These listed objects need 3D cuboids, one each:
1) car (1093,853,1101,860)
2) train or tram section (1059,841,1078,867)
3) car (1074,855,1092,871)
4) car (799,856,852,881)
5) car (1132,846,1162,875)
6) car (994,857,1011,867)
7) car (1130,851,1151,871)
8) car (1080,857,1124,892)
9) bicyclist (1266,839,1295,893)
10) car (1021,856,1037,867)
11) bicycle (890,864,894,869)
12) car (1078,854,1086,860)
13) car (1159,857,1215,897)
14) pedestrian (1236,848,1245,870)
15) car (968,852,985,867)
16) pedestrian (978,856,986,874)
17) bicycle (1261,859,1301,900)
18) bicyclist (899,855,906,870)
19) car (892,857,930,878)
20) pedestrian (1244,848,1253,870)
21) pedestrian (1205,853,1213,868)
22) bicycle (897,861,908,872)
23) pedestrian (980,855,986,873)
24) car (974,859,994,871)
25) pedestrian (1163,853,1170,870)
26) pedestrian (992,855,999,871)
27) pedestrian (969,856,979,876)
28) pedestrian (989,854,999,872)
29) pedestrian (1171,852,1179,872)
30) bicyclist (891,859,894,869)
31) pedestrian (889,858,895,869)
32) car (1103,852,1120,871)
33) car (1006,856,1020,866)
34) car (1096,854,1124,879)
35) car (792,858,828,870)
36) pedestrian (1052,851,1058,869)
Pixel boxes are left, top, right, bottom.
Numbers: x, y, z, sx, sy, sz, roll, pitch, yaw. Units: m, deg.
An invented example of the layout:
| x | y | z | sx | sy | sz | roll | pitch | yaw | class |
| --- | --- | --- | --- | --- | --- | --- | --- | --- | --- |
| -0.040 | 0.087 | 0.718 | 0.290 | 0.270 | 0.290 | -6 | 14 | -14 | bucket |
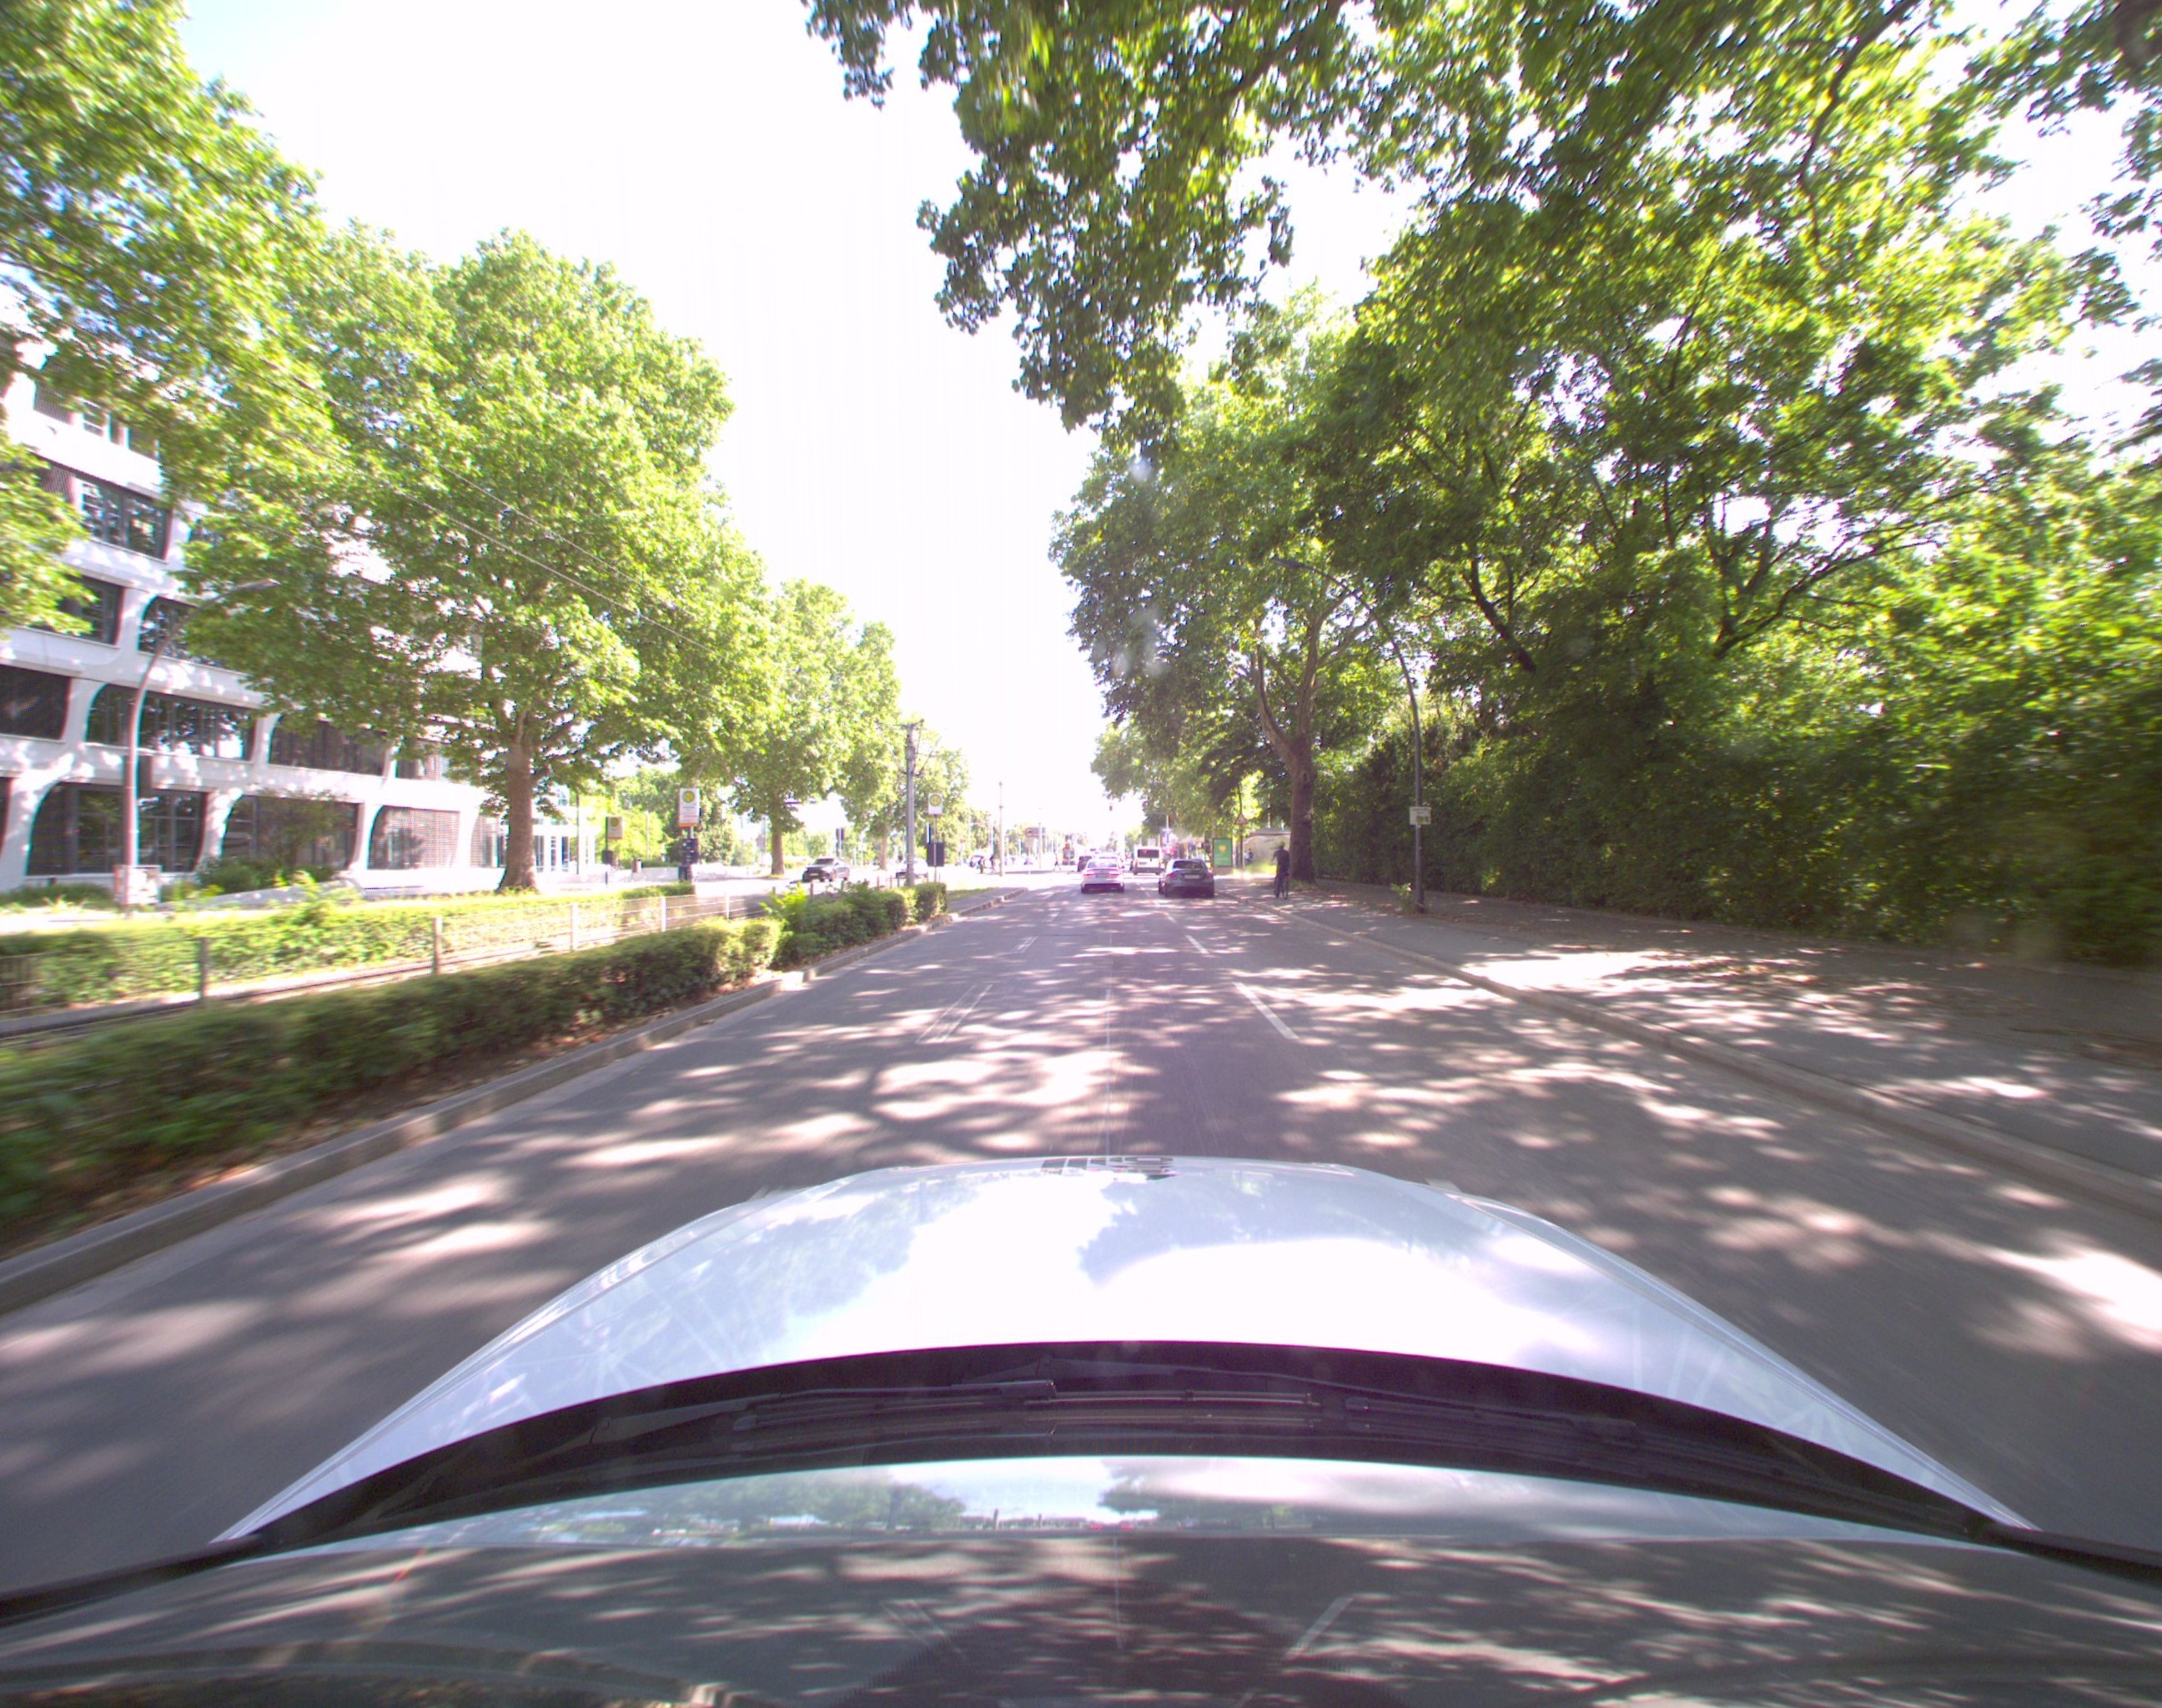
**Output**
| x | y | z | sx | sy | sz | roll | pitch | yaw | class |
| --- | --- | --- | --- | --- | --- | --- | --- | --- | --- |
| 4.163 | 0.676 | 216.132 | 1.862 | 1.609 | 4.005 | 0 | 0 | 5 | car |
| -1.949 | 0.005 | 129.697 | 2.606 | 4.015 | 7.754 | 0 | 0 | 3 | train or tram section |
| 0.254 | 0.899 | 83.383 | 1.722 | 1.631 | 4.002 | 0 | 0 | 2 | car |
| -17.043 | 0.945 | 54.541 | 1.823 | 1.624 | 4.899 | 0 | 0 | 2 | car |
| 5.206 | 0.536 | 64.711 | 2.221 | 2.212 | 4.164 | 0 | 0 | 2 | car |
| -11.714 | 1.183 | 121.867 | 1.863 | 1.609 | 4.003 | 0 | 0 | 3 | car |
| 6.144 | 0.717 | 84.434 | 2.064 | 1.999 | 4.060 | 0 | 0 | 2 | car |
| 0.923 | 0.856 | 34.978 | 1.777 | 1.420 | 3.887 | 0 | 0 | 2 | car |
| 6.295 | 0.359 | 25.764 | 0.632 | 1.648 | 0.980 | -3 | 1 | 1 | bicyclist |
| -8.295 | 1.205 | 130.243 | 1.985 | 1.734 | 4.003 | 0 | 0 | 3 | car |
| -25.713 | 1.726 | 110.942 | 0.420 | 0.748 | 1.142 | 0 | 0 | -9 | bicycle |
| 0.300 | 0.731 | 216.420 | 1.862 | 1.609 | 4.005 | 0 | 0 | 5 | car |
| 3.963 | 0.829 | 30.882 | 1.775 | 1.420 | 4.002 | 0 | 0 | 2 | car |
| 13.639 | 0.435 | 69.612 | 0.611 | 1.896 | 0.694 | -1 | -1 | -1 | pedestrian |
| -17.293 | 0.895 | 134.958 | 2.106 | 2.383 | 4.003 | 0 | 0 | 3 | car |
| -9.005 | 1.030 | 73.934 | 0.590 | 1.646 | 0.555 | 0 | -1 | 2 | pedestrian |
| 6.313 | 0.780 | 25.794 | 0.712 | 1.148 | 2.179 | -3 | 1 | 1 | bicycle |
| -18.665 | 0.870 | 85.139 | 0.572 | 1.604 | 0.839 | 0 | 0 | 3 | bicyclist |
| -12.896 | 1.009 | 61.911 | 1.803 | 1.563 | 4.306 | 0 | 0 | 2 | car |
| 14.303 | 0.426 | 69.651 | 0.611 | 1.896 | 0.597 | -1 | -1 | -1 | pedestrian |
| 14.775 | 0.738 | 94.071 | 0.772 | 1.788 | 0.767 | 0 | 0 | 13 | pedestrian |
| -18.674 | 1.310 | 85.096 | 0.664 | 1.094 | 1.885 | 0 | 0 | 3 | bicycle |
| -8.994 | 0.890 | 74.753 | 0.490 | 1.679 | 0.644 | 0 | -1 | 3 | pedestrian |
| -11.775 | 1.324 | 98.973 | 1.789 | 1.488 | 4.388 | 0 | 0 | 3 | car |
| 8.425 | 0.745 | 80.533 | 0.600 | 1.694 | 0.954 | -3 | -1 | 2 | pedestrian |
| -8.567 | 0.943 | 81.463 | 0.532 | 1.598 | 0.580 | 0 | -1 | 21 | pedestrian |
| -9.054 | 1.003 | 68.798 | 0.760 | 1.623 | 0.590 | 0 | -1 | -23 | pedestrian |
| -8.657 | 0.879 | 80.741 | 0.769 | 1.734 | 0.756 | 0 | -1 | 11 | pedestrian |
| 8.900 | 0.764 | 77.197 | 0.633 | 1.946 | 0.719 | 0 | -1 | 2 | pedestrian |
| -25.701 | 1.332 | 110.904 | 0.385 | 1.311 | 0.464 | 0 | -1 | -10 | bicyclist |
| -26.598 | 1.367 | 114.487 | 0.620 | 1.542 | 0.782 | 0 | 0 | 1 | pedestrian |
| 3.116 | 0.710 | 83.546 | 1.722 | 1.901 | 4.002 | 0 | 0 | 2 | car |
| -11.280 | 1.185 | 134.564 | 1.756 | 1.609 | 3.863 | 0 | 0 | 3 | car |
| 1.923 | 0.787 | 53.462 | 1.722 | 1.605 | 3.887 | 0 | 0 | 2 | car |
| -33.990 | 1.265 | 102.202 | 3.832 | 1.549 | 1.770 | 0 | 0 | 2 | car |
| -2.890 | 0.668 | 90.581 | 0.621 | 1.918 | 0.690 | 0 | -1 | 2 | pedestrian |
